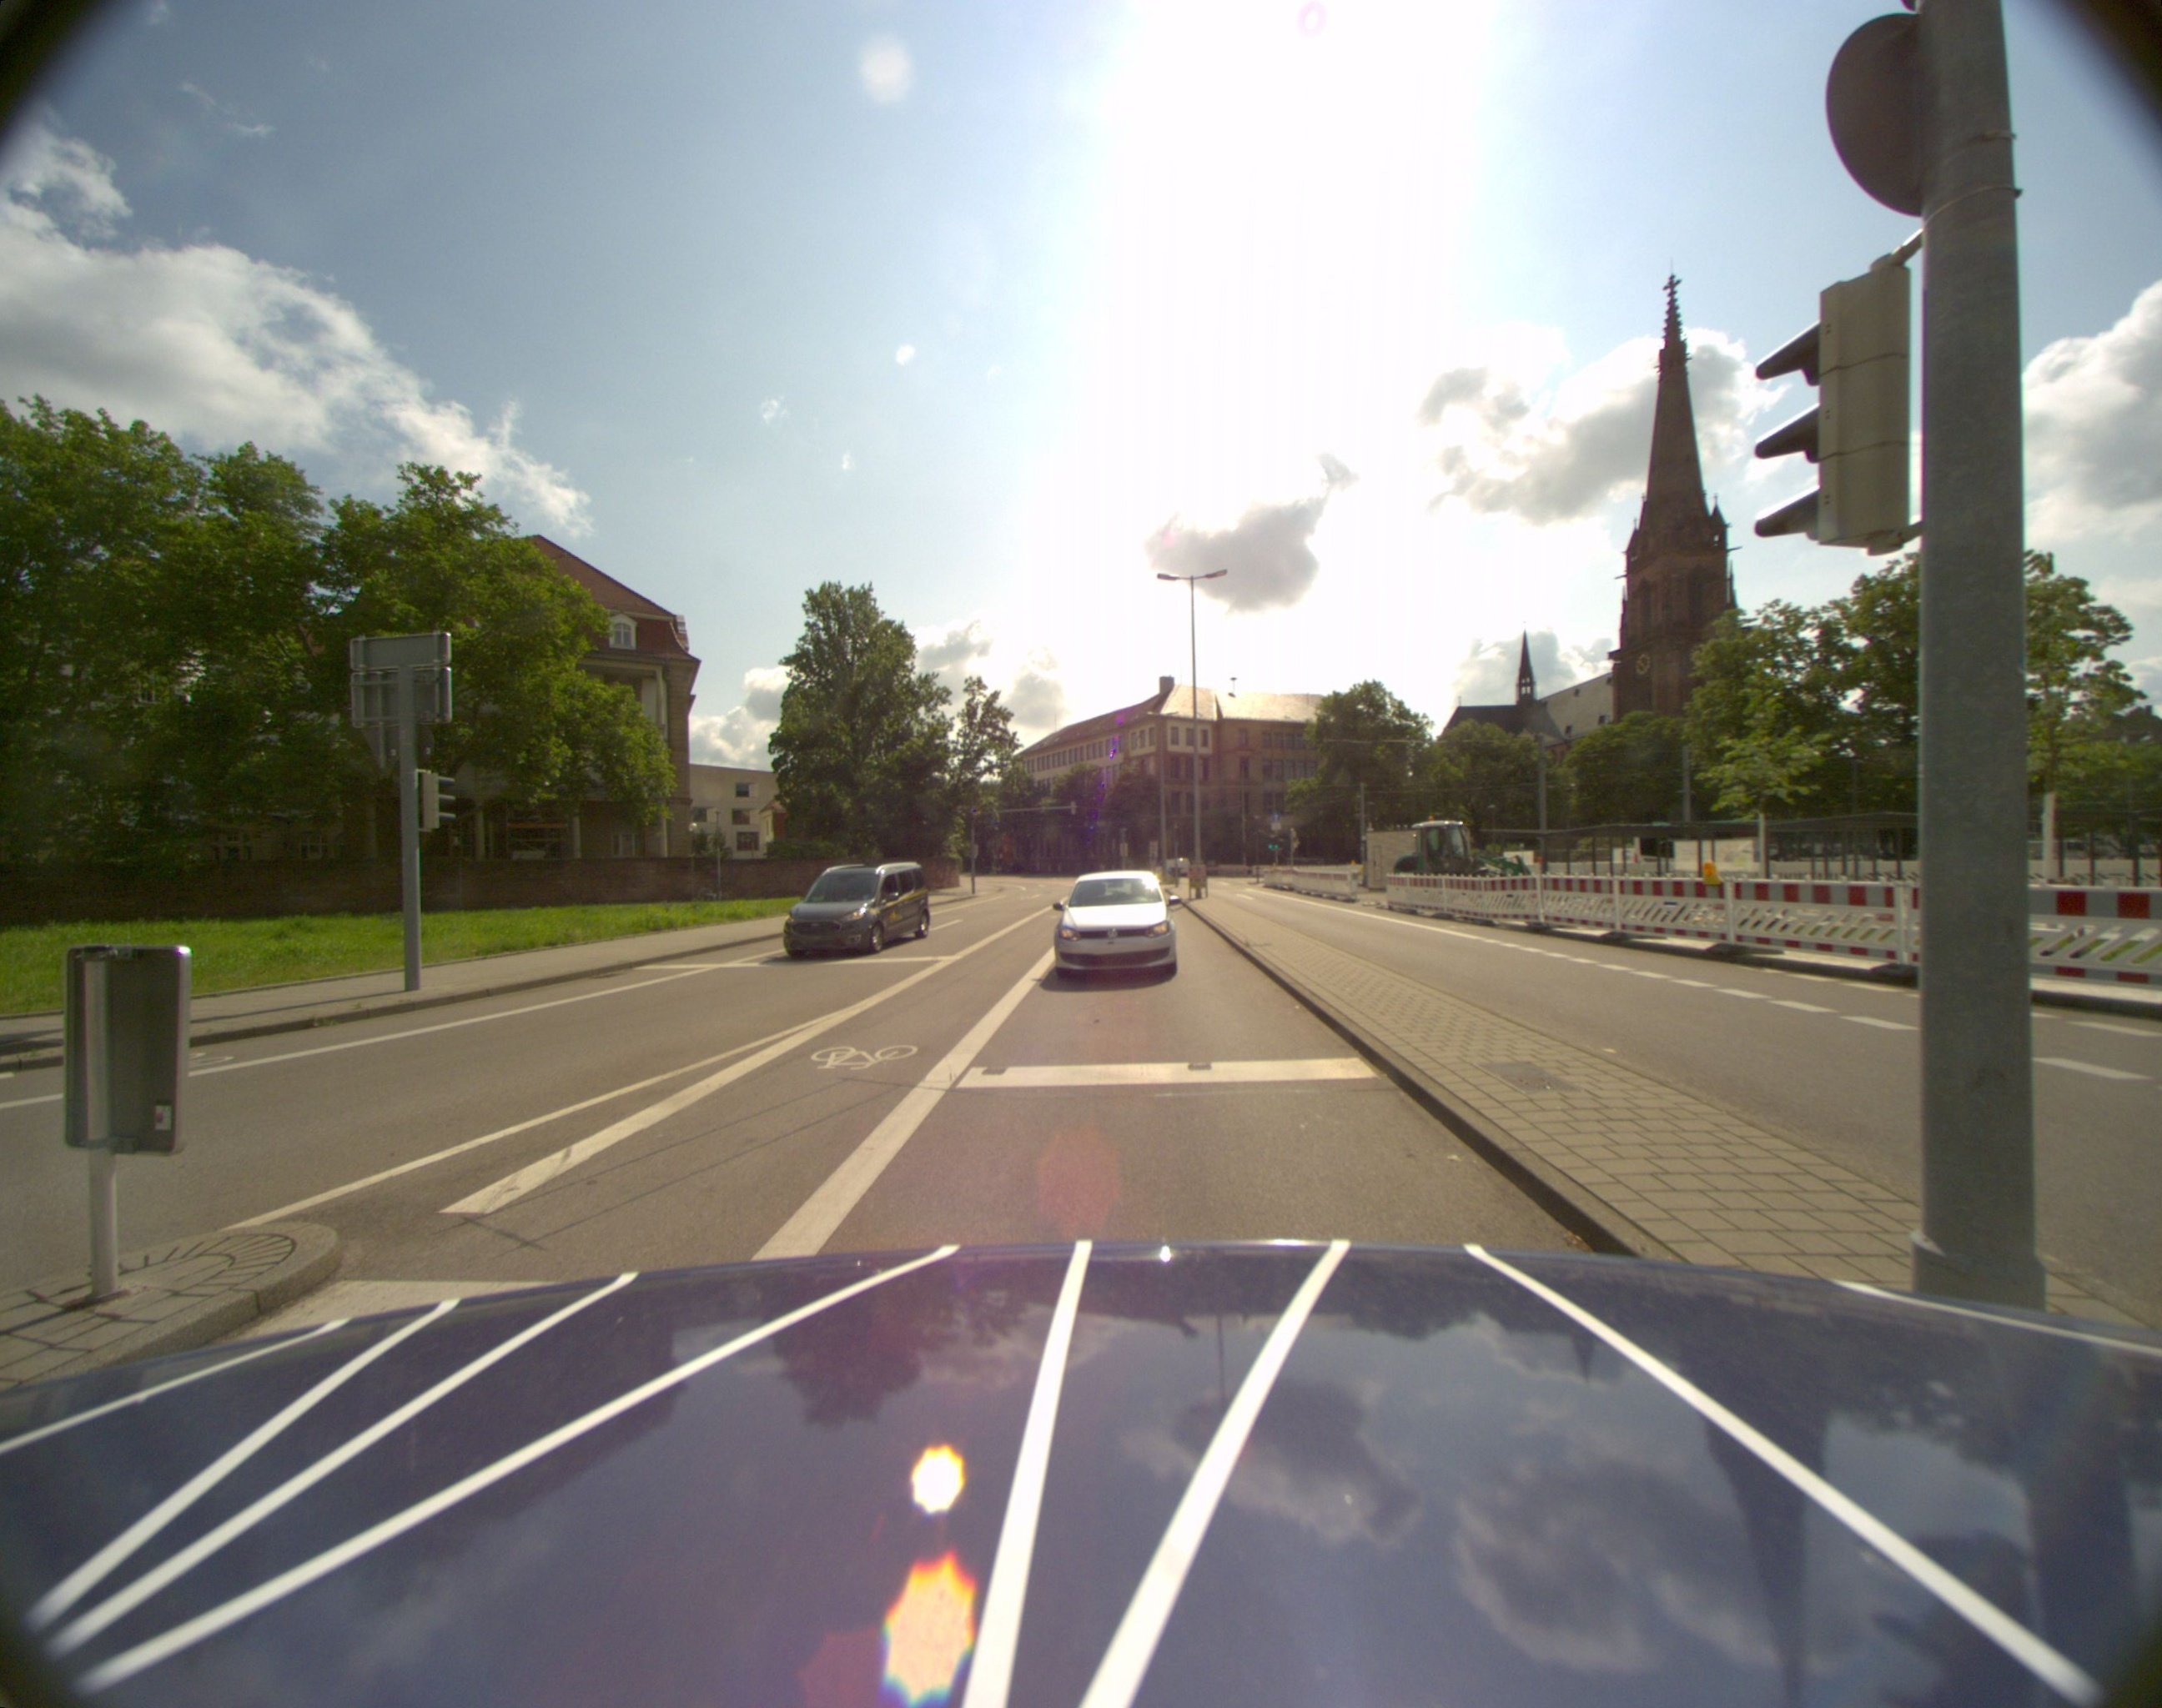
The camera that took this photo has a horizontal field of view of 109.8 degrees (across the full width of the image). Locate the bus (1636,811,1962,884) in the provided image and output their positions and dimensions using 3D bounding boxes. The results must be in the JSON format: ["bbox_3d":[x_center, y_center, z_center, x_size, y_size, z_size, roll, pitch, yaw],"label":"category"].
[{"bbox_3d":[36.663,-0.269,39.780,2.998,3.243,12.047,-1,0,-31],"label":"bus"}]

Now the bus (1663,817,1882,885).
[{"bbox_3d":[34.235,-0.090,38.035,2.378,3.040,7.745,-1,0,-31],"label":"bus"}]

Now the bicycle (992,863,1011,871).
[{"bbox_3d":[-12.578,2.039,120.277,2.890,1.200,1.073,-1,3,11],"label":"bicycle"}]

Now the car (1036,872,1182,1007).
[{"bbox_3d":[0.453,1.061,11.014,1.655,1.433,4.006,-3,0,3],"label":"car"}]

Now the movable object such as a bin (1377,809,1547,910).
[{"bbox_3d":[12.123,0.170,24.408,2.004,2.932,4.439,-1,0,-39],"label":"movable object such as a bin"}]

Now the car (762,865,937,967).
[{"bbox_3d":[-4.723,1.178,16.338,1.852,1.774,4.674,-2,0,6],"label":"car"}]

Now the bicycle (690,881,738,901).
[{"bbox_3d":[-18.722,1.873,38.783,2.065,0.856,0.856,-1,2,-42],"label":"bicycle"}]

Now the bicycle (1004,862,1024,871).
[{"bbox_3d":[-10.396,1.915,117.949,2.890,1.200,1.050,-1,3,11],"label":"bicycle"}]
